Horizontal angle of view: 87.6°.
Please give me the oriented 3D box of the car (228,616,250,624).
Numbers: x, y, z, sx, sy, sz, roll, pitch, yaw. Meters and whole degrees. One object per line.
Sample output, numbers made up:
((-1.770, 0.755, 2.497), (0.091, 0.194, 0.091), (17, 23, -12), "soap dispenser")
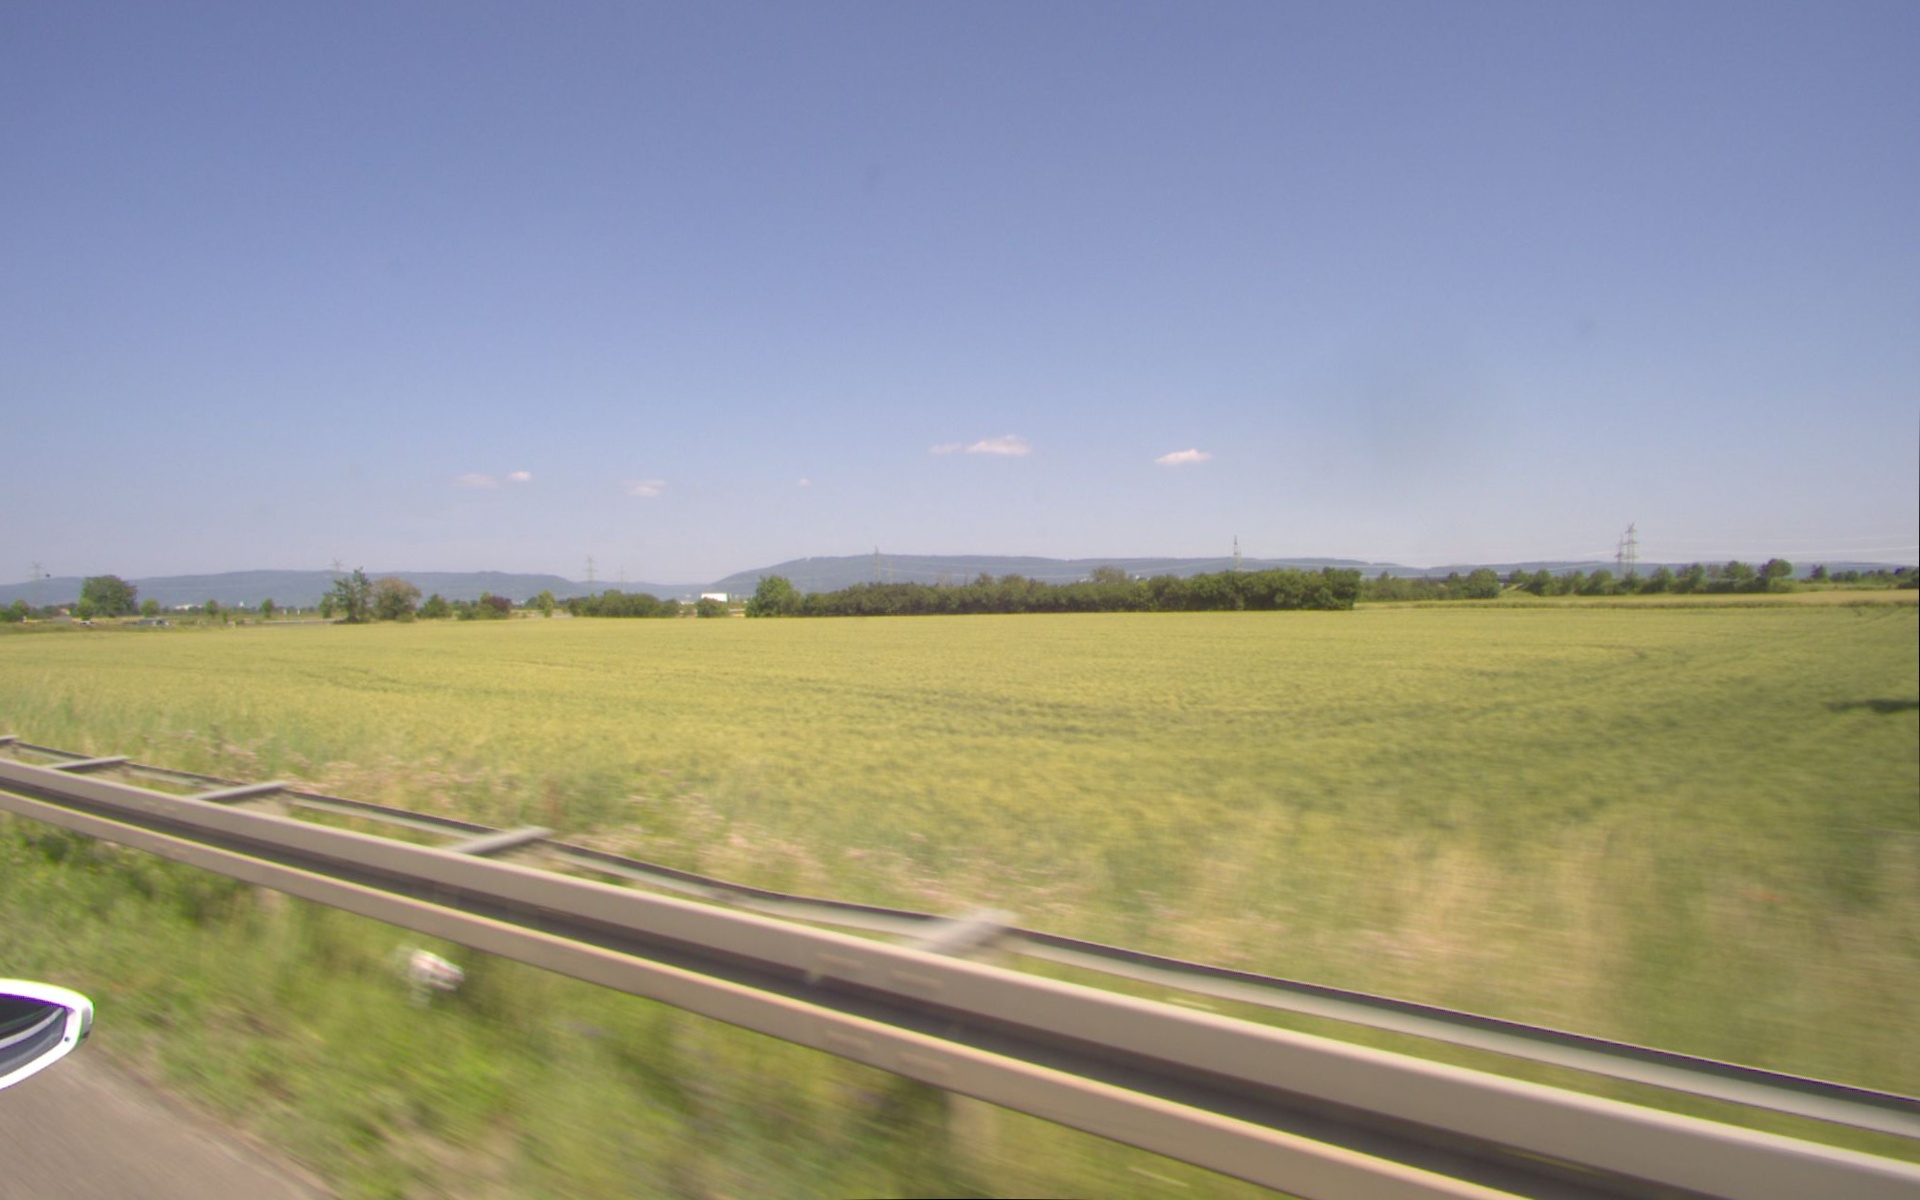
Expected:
((-141.152, 3.925, 196.091), (1.617, 1.505, 3.486), (0, -2, 3), "car")
